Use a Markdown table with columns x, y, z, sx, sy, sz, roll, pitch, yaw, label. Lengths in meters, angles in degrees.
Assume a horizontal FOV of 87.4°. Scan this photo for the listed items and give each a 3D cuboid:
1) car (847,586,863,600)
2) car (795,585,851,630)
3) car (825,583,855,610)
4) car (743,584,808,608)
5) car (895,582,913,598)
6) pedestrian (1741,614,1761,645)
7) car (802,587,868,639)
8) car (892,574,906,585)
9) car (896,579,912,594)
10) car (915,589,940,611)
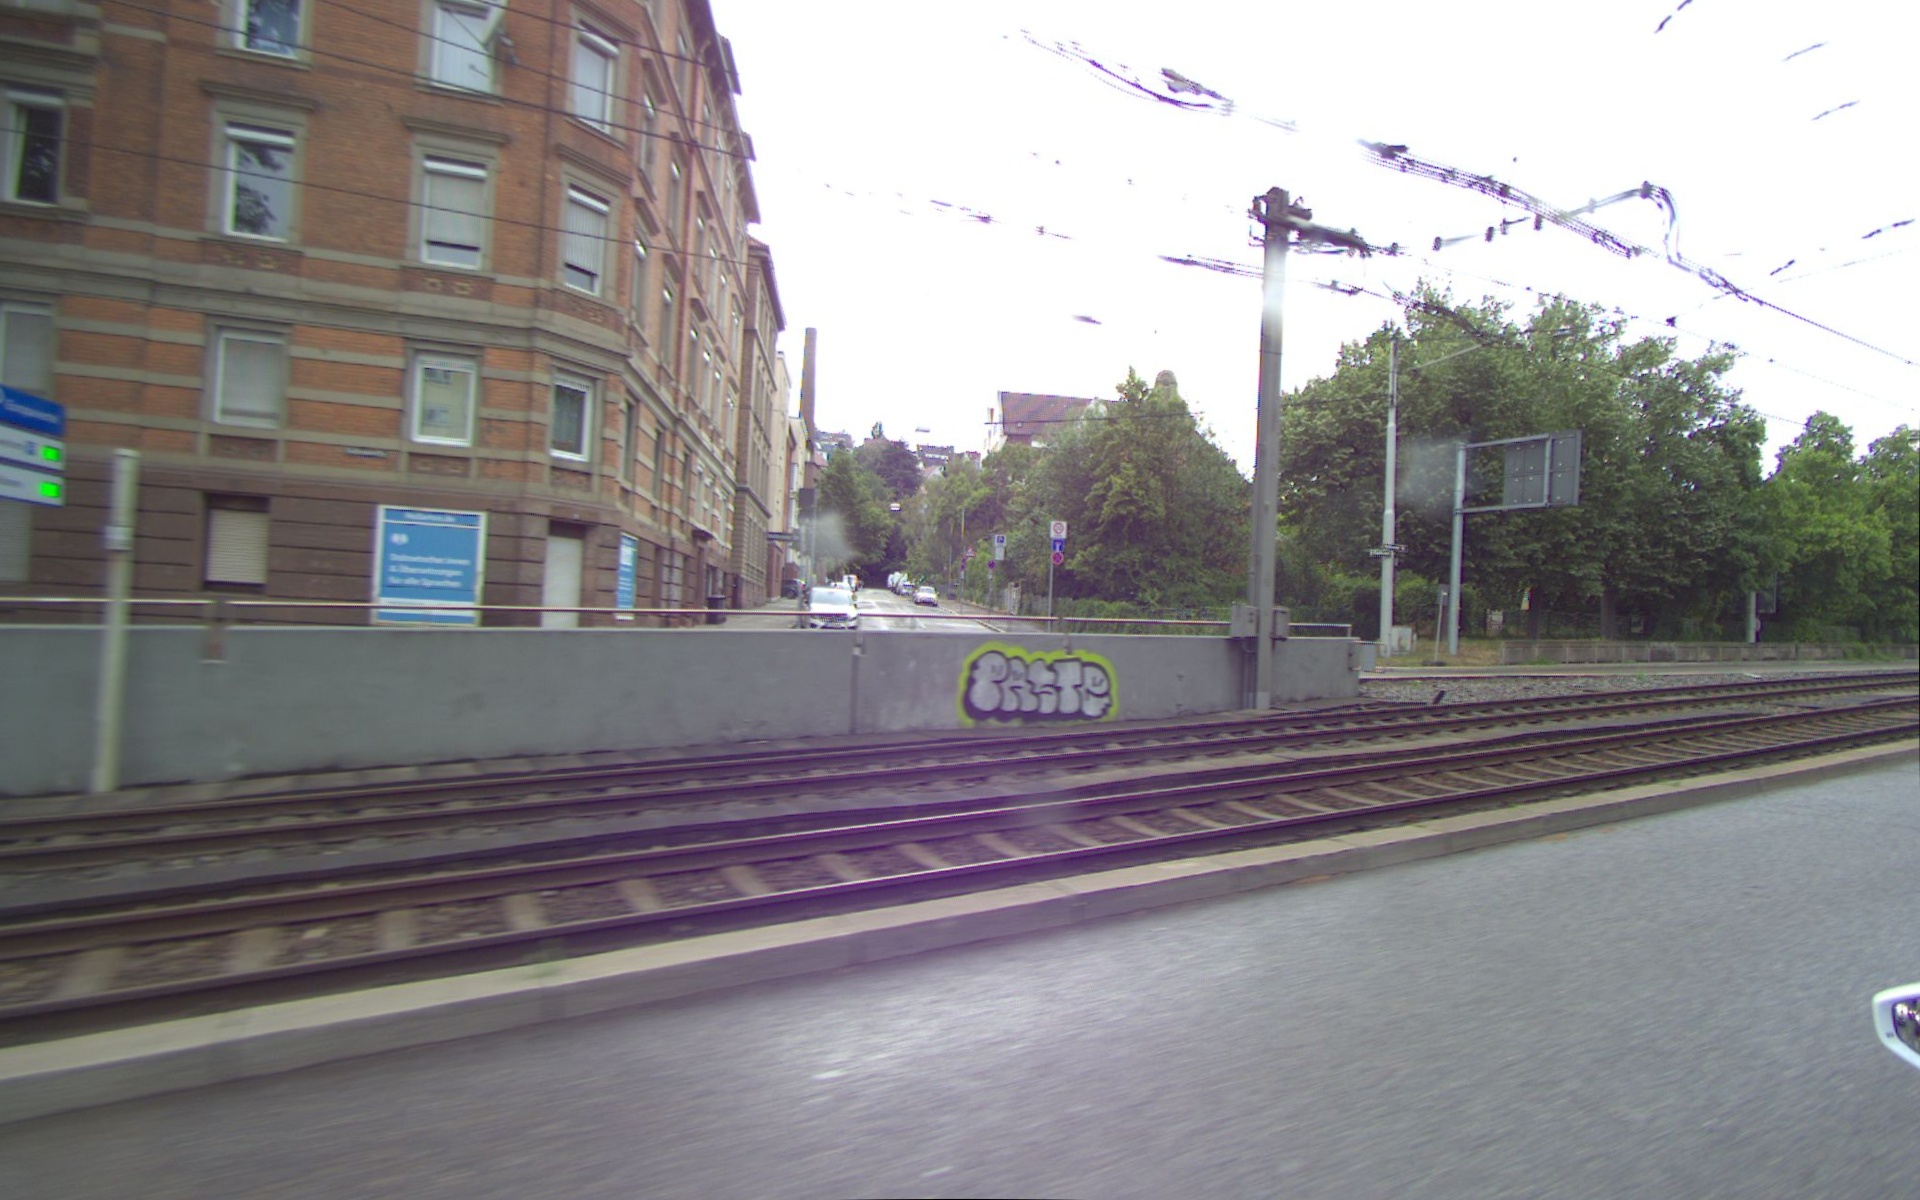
| x | y | z | sx | sy | sz | roll | pitch | yaw | label |
| --- | --- | --- | --- | --- | --- | --- | --- | --- | --- |
| -12.425 | -0.824 | 118.559 | 1.655 | 1.522 | 3.808 | 4 | 1 | -9 | car |
| -5.493 | 0.256 | 39.821 | 1.872 | 1.522 | 3.947 | 4 | 1 | -11 | car |
| -7.670 | -0.243 | 63.959 | 1.655 | 1.522 | 3.808 | 4 | 1 | -9 | car |
| -13.179 | -0.261 | 71.893 | 4.416 | 1.530 | 1.798 | 2 | 0 | -7 | car |
| -5.891 | -1.043 | 105.114 | 1.766 | 1.530 | 3.997 | 2 | 1 | -4 | car |
| 43.493 | 1.614 | 55.245 | 0.642 | 1.683 | 0.645 | 1 | -2 | -30 | pedestrian |
| -4.394 | 0.390 | 34.780 | 1.872 | 1.522 | 4.350 | 4 | 0 | -11 | car |
| -8.358 | -2.790 | 137.301 | 1.766 | 1.530 | 3.996 | 2 | 1 | -6 | car |
| -6.299 | -1.528 | 112.787 | 1.766 | 1.530 | 3.997 | 2 | 1 | -4 | car |
| -2.597 | -0.029 | 78.724 | 1.654 | 1.522 | 3.811 | 4 | 1 | -5 | car |
